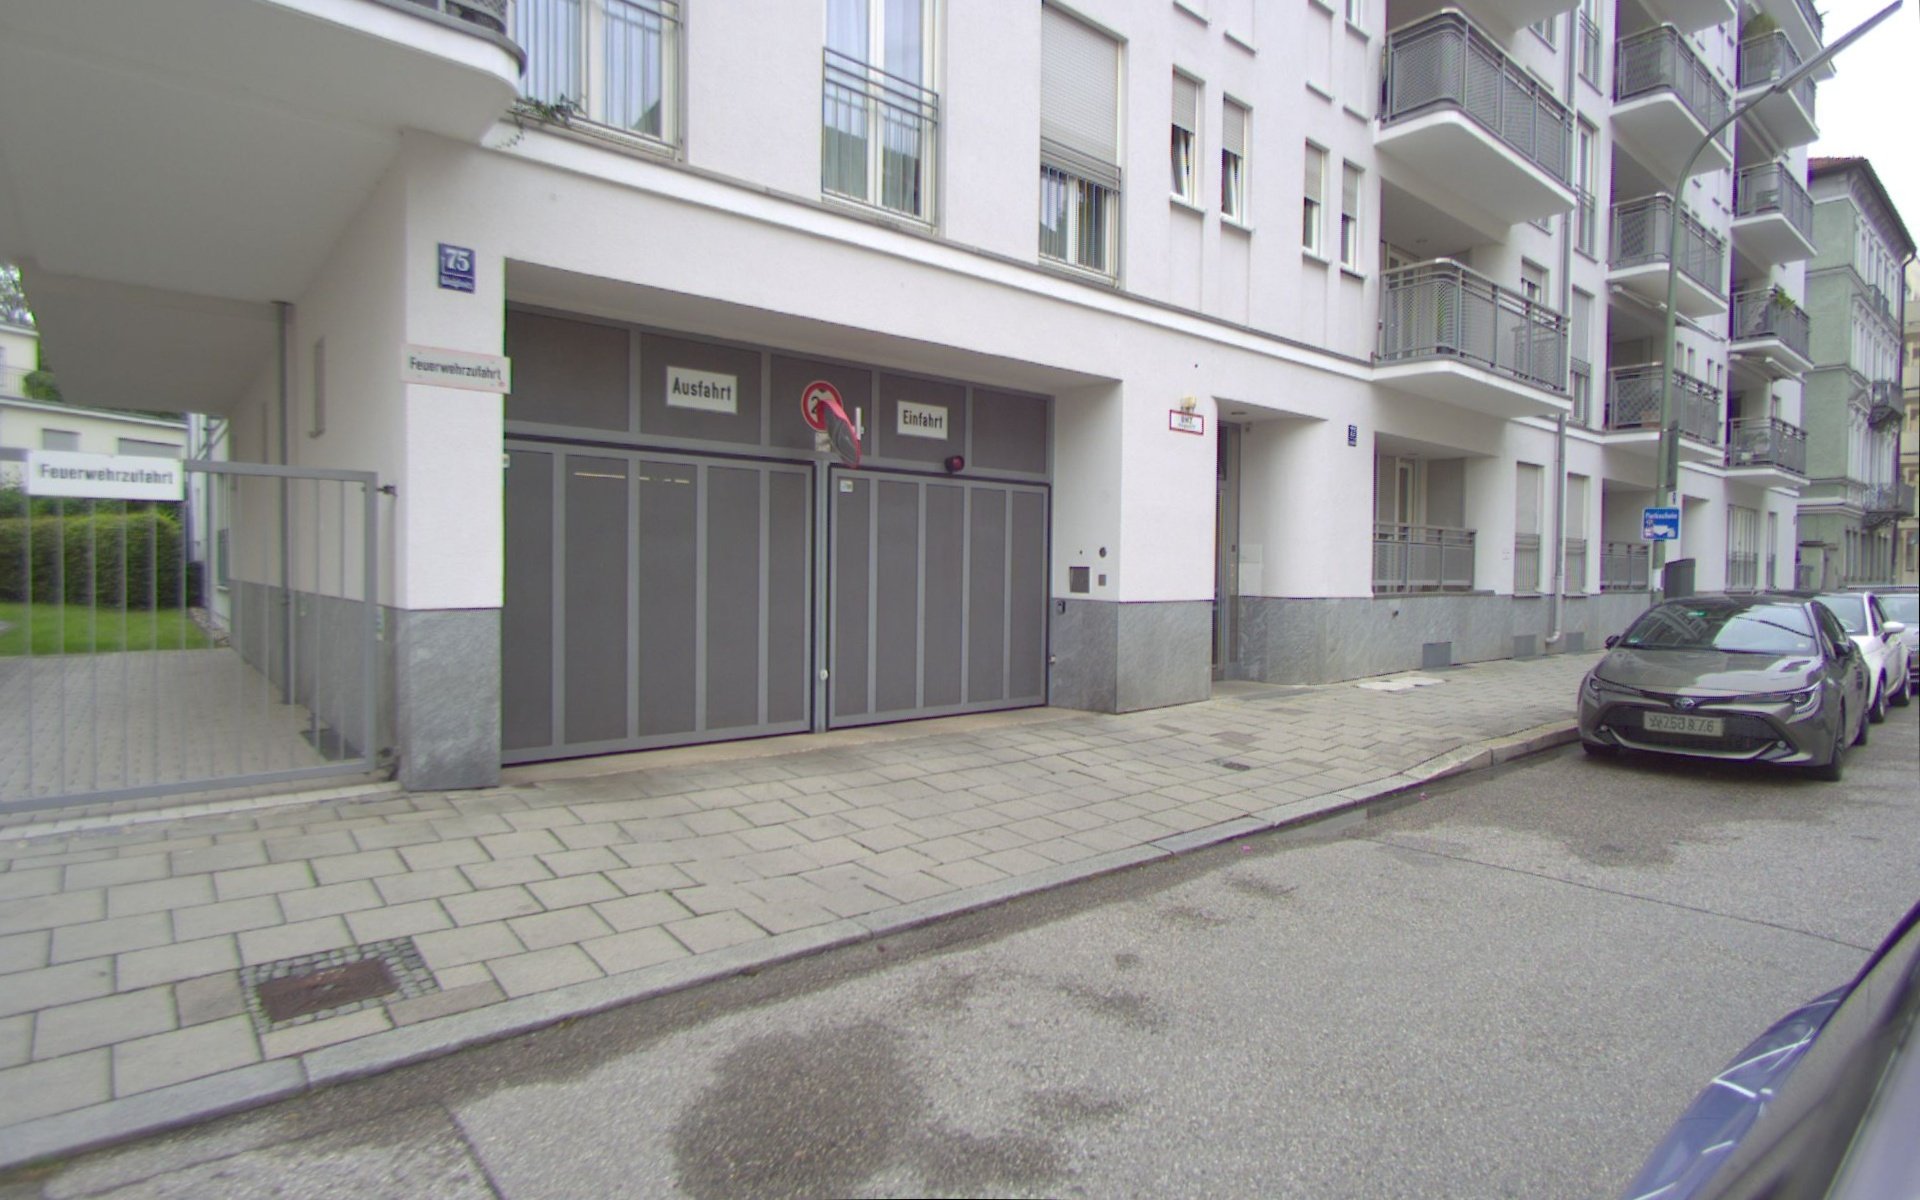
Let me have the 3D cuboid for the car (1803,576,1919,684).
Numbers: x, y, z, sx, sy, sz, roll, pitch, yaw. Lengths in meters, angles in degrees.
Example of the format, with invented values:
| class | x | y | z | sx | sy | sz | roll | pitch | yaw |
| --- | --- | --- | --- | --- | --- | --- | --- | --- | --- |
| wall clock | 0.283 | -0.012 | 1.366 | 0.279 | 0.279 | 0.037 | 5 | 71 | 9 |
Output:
| class | x | y | z | sx | sy | sz | roll | pitch | yaw |
| --- | --- | --- | --- | --- | --- | --- | --- | --- | --- |
| car | 14.260 | 0.382 | 15.338 | 3.683 | 1.475 | 1.764 | -1 | 2 | -42 |

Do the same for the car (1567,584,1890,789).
| class | x | y | z | sx | sy | sz | roll | pitch | yaw |
| --- | --- | --- | --- | --- | --- | --- | --- | --- | --- |
| car | 7.187 | 0.582 | 9.291 | 4.177 | 1.411 | 1.781 | -1 | 2 | -45 |

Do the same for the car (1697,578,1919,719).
| class | x | y | z | sx | sy | sz | roll | pitch | yaw |
| --- | --- | --- | --- | --- | --- | --- | --- | --- | --- |
| car | 10.676 | 0.481 | 12.589 | 3.359 | 1.475 | 1.764 | -1 | 2 | -42 |

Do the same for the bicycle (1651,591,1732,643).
| class | x | y | z | sx | sy | sz | roll | pitch | yaw |
| --- | --- | --- | --- | --- | --- | --- | --- | --- | --- |
| bicycle | 15.075 | 0.328 | 20.851 | 1.913 | 1.027 | 0.582 | -1 | 1 | -29 |
